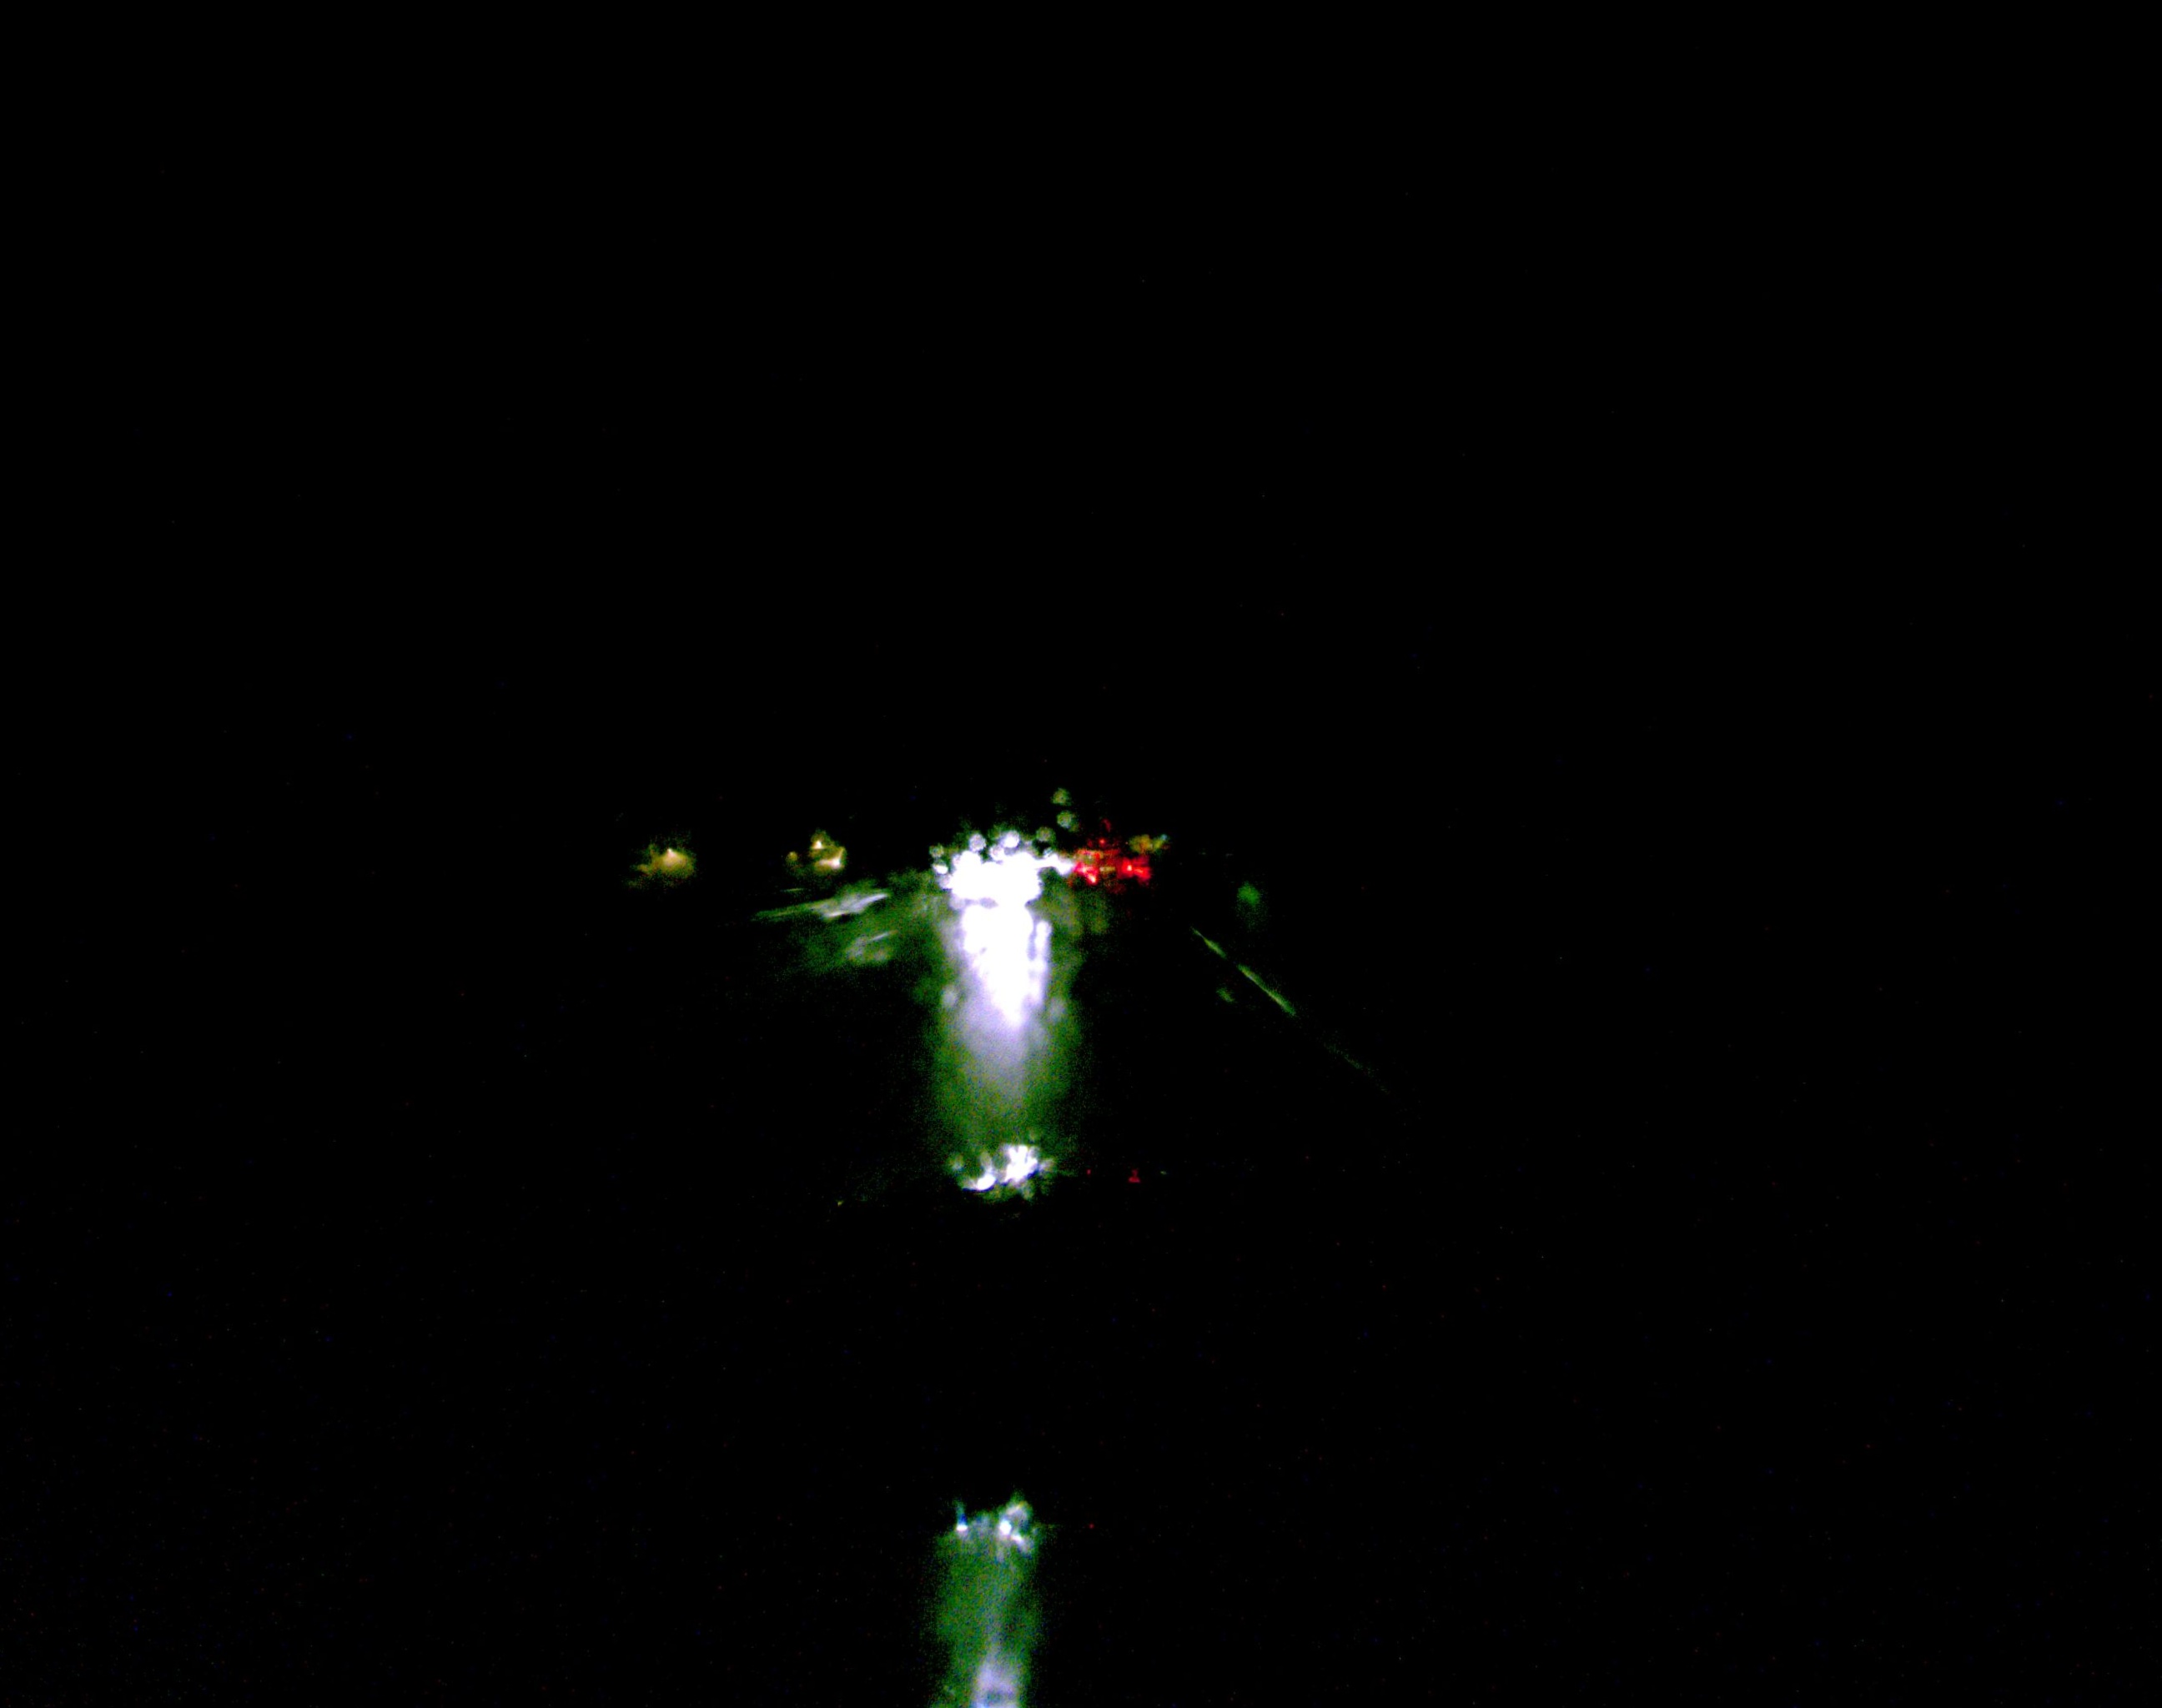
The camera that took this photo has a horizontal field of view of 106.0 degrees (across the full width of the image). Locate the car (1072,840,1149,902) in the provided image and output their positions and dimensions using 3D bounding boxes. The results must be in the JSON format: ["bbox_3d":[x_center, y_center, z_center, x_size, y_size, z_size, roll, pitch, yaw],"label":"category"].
[{"bbox_3d":[0.966,0.603,29.193,2.450,1.958,4.909,-2,-1,-1],"label":"car"}]

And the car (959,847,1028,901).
[{"bbox_3d":[-3.096,0.656,29.777,1.848,1.683,4.326,-4,1,1],"label":"car"}]
